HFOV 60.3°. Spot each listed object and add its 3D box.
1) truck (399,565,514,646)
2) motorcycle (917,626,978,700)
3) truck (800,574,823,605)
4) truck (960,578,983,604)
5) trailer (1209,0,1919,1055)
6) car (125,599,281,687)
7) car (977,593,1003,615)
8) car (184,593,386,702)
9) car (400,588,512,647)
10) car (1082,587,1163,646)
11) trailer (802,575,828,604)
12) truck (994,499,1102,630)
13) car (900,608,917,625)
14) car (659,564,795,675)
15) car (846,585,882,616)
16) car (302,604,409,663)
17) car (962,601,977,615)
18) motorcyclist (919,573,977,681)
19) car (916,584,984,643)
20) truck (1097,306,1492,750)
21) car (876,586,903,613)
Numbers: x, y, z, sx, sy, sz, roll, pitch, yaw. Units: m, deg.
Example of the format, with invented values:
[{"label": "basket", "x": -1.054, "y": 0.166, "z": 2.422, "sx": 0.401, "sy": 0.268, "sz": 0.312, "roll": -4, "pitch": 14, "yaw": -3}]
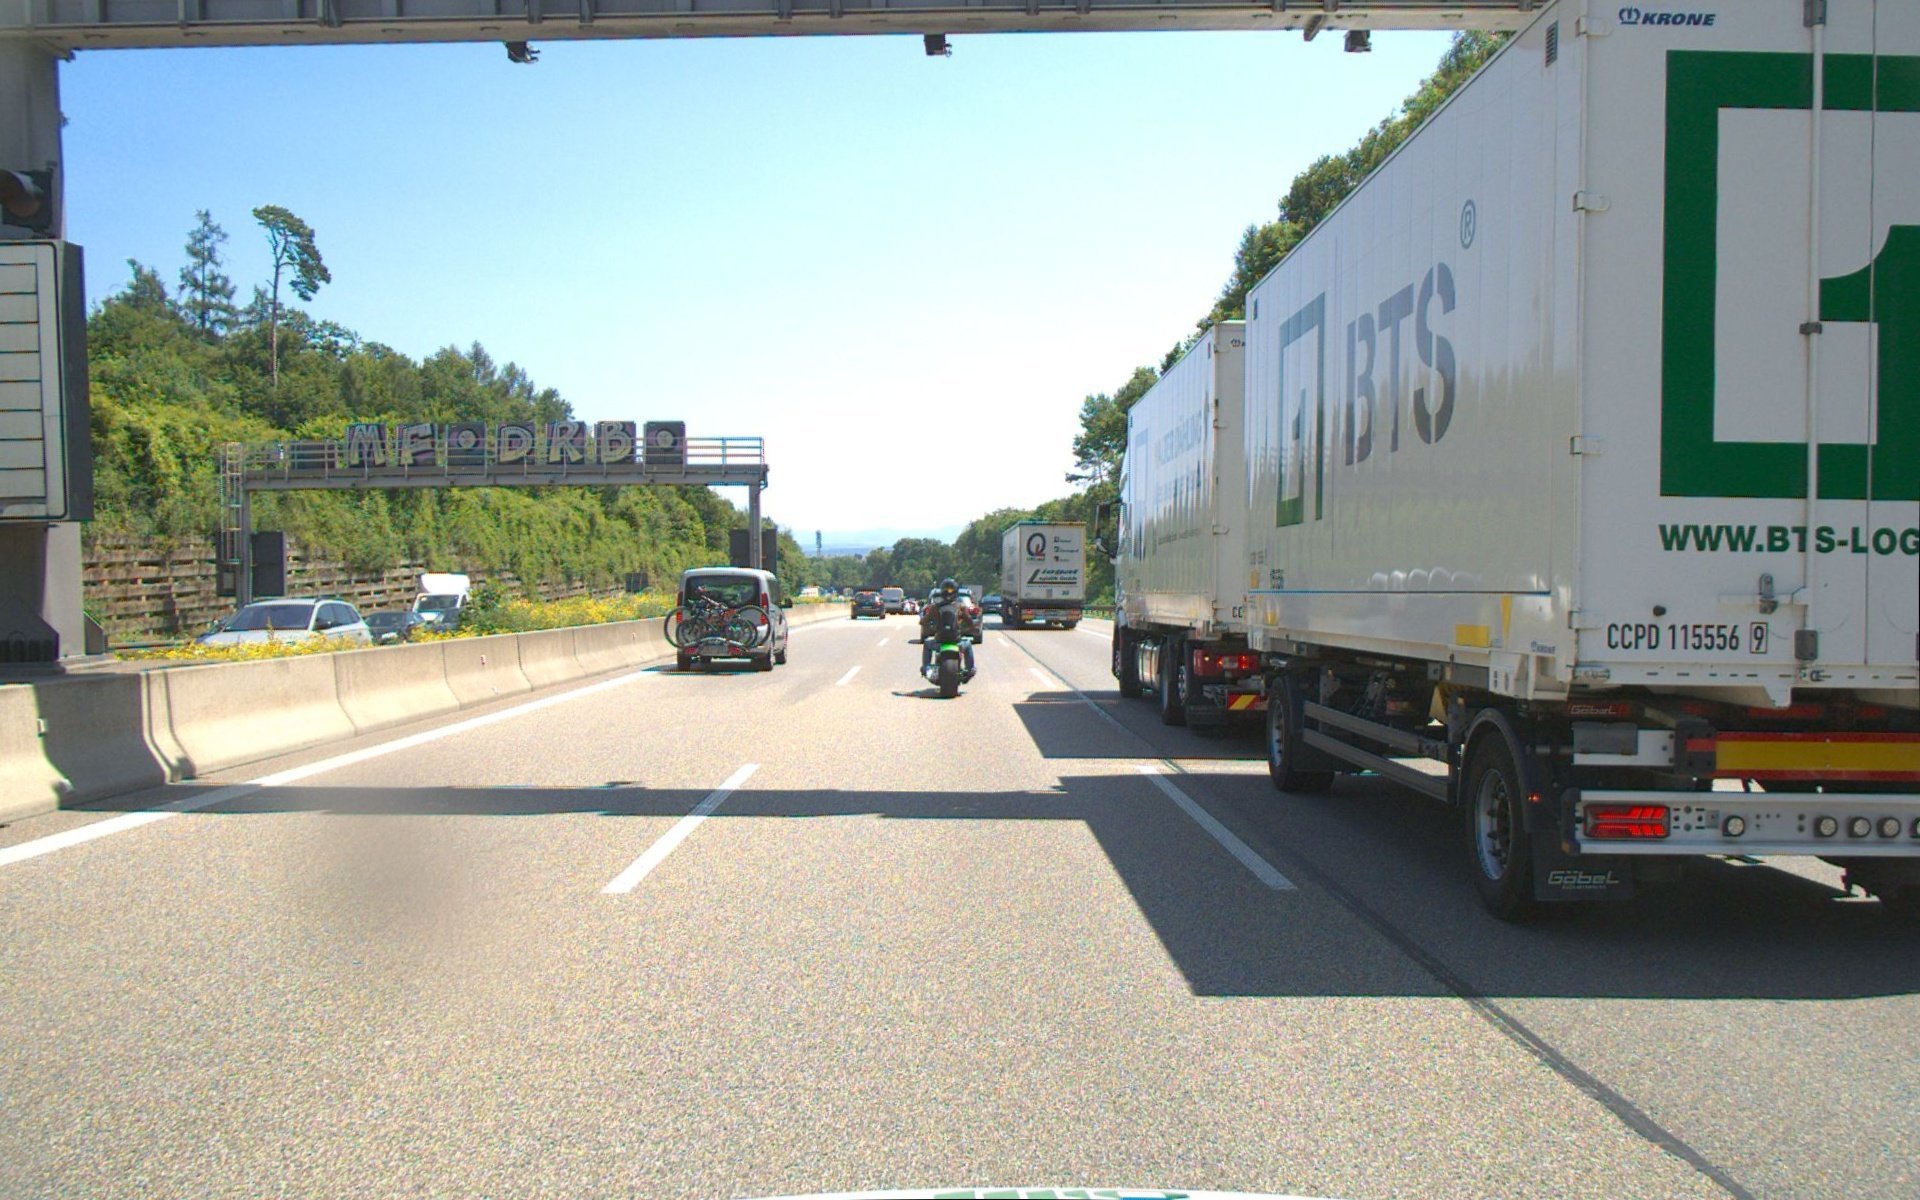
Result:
[{"label": "truck", "x": -20.398, "y": 0.147, "z": 67.381, "sx": 2.527, "sy": 3.044, "sz": 7.061, "roll": -2, "pitch": 1, "yaw": -1}, {"label": "motorcycle", "x": -0.173, "y": 0.895, "z": 24.147, "sx": 0.844, "sy": 0.999, "sz": 2.130, "roll": 0, "pitch": 0, "yaw": 0}, {"label": "truck", "x": -20.357, "y": -1.421, "z": 227.086, "sx": 2.625, "sy": 4.101, "sz": 5.930, "roll": -1, "pitch": 0, "yaw": -1}, {"label": "truck", "x": 1.541, "y": -1.223, "z": 226.397, "sx": 3.005, "sy": 3.405, "sz": 9.650, "roll": 1, "pitch": 0, "yaw": -1}, {"label": "trailer", "x": 3.731, "y": -0.695, "z": 10.386, "sx": 2.625, "sy": 4.248, "sz": 10.063, "roll": 0, "pitch": 0, "yaw": -1}, {"label": "car", "x": -15.051, "y": 0.819, "z": 33.075, "sx": 1.485, "sy": 1.562, "sz": 3.549, "roll": -2, "pitch": 1, "yaw": -1}, {"label": "car", "x": 2.210, "y": 0.261, "z": 122.290, "sx": 1.794, "sy": 1.553, "sz": 4.026, "roll": 1, "pitch": 1, "yaw": -1}, {"label": "car", "x": -11.501, "y": 0.753, "z": 28.483, "sx": 1.806, "sy": 1.633, "sz": 4.116, "roll": -2, "pitch": 1, "yaw": -1}, {"label": "car", "x": -15.316, "y": 0.497, "z": 50.566, "sx": 1.962, "sy": 1.633, "sz": 4.862, "roll": -2, "pitch": 1, "yaw": -1}, {"label": "car", "x": 4.590, "y": 0.429, "z": 47.267, "sx": 1.808, "sy": 1.584, "sz": 4.391, "roll": 1, "pitch": 1, "yaw": -1}, {"label": "trailer", "x": -20.468, "y": -1.503, "z": 234.522, "sx": 2.625, "sy": 4.085, "sz": 14.185, "roll": -1, "pitch": 0, "yaw": -1}, {"label": "truck", "x": 3.475, "y": -1.400, "z": 70.516, "sx": 3.314, "sy": 4.800, "sz": 17.706, "roll": 1, "pitch": 0, "yaw": -1}, {"label": "car", "x": -5.634, "y": 1.801, "z": 181.338, "sx": 1.794, "sy": 1.842, "sz": 4.119, "roll": 1, "pitch": 1, "yaw": -1}, {"label": "car", "x": -4.273, "y": 0.334, "z": 31.089, "sx": 1.859, "sy": 1.880, "sz": 5.482, "roll": 0, "pitch": 0, "yaw": -1}, {"label": "car", "x": -5.143, "y": -0.001, "z": 88.910, "sx": 1.722, "sy": 1.570, "sz": 4.394, "roll": 1, "pitch": 1, "yaw": -1}, {"label": "car", "x": -18.759, "y": 0.995, "z": 51.539, "sx": 1.763, "sy": 1.632, "sz": 4.371, "roll": -2, "pitch": 1, "yaw": -1}, {"label": "car", "x": 1.164, "y": 0.985, "z": 202.898, "sx": 1.794, "sy": 1.553, "sz": 4.026, "roll": 1, "pitch": 1, "yaw": -1}, {"label": "motorcyclist", "x": -0.172, "y": 0.383, "z": 24.133, "sx": 0.838, "sy": 1.541, "sz": 0.914, "roll": 0, "pitch": 0, "yaw": 0}, {"label": "car", "x": -0.312, "y": 0.345, "z": 46.982, "sx": 1.808, "sy": 1.584, "sz": 4.438, "roll": 1, "pitch": 1, "yaw": -1}, {"label": "truck", "x": 3.570, "y": -0.710, "z": 20.776, "sx": 2.625, "sy": 4.130, "sz": 10.624, "roll": 0, "pitch": 0, "yaw": -1}, {"label": "car", "x": -5.069, "y": -0.031, "z": 118.822, "sx": 1.794, "sy": 1.842, "sz": 4.119, "roll": 1, "pitch": 1, "yaw": -1}]
